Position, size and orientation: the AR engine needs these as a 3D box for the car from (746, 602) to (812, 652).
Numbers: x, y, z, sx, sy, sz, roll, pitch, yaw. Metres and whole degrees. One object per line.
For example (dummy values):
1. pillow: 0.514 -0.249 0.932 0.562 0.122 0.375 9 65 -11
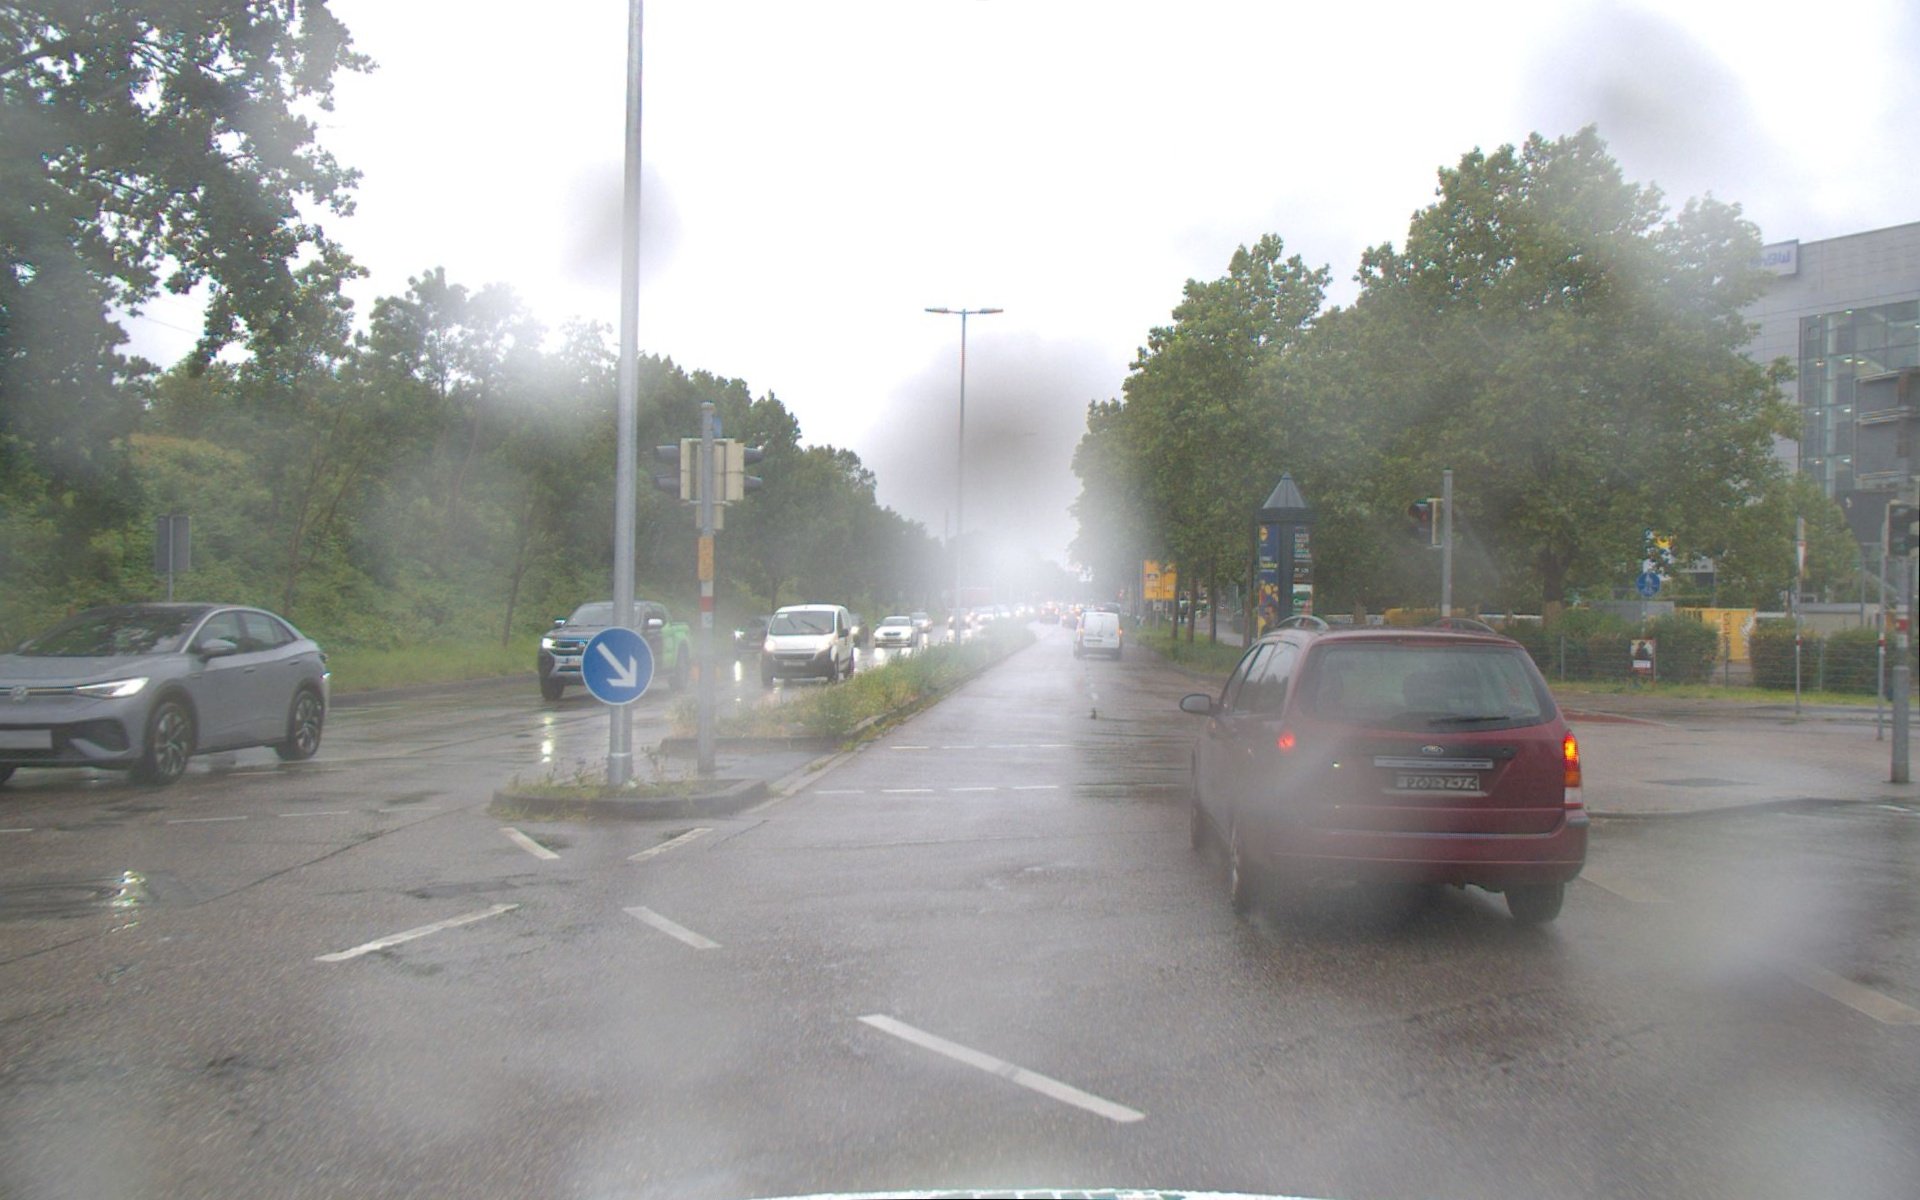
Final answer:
1. car: -6.786 0.977 62.402 1.707 1.732 4.285 3 0 3

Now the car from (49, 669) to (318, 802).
1. car: -10.025 1.704 21.689 1.557 1.428 3.824 0 0 3

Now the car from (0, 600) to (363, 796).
1. car: -7.638 0.840 16.082 1.725 1.614 4.814 0 -1 2

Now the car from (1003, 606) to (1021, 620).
1. car: 6.258 1.582 198.998 1.921 1.625 4.286 0 0 4

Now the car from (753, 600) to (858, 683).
1. car: -3.407 0.892 37.185 1.707 1.732 4.285 -1 0 3

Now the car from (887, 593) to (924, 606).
1. car: -6.746 -0.087 206.331 4.227 1.625 1.948 0 0 -32

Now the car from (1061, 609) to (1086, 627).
1. car: 10.274 1.597 149.386 2.102 1.554 4.195 1 0 6

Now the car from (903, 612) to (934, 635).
1. car: -3.001 1.708 119.525 1.922 1.625 4.285 0 0 3

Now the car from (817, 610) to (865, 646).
1. car: -5.988 1.385 83.792 1.922 1.732 4.285 0 0 3

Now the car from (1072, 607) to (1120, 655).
1. car: 5.328 1.173 65.056 1.699 1.756 4.245 2 0 3

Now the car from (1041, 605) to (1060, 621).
1. car: 8.965 1.251 164.057 1.662 1.554 3.848 1 0 6

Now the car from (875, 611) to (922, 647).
1. car: -3.004 1.398 81.413 1.922 1.732 4.285 0 0 3

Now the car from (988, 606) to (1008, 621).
1. car: 4.123 1.459 177.273 1.921 1.625 4.286 0 0 4

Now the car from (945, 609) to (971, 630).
1. car: -0.167 1.592 135.435 1.922 1.625 4.285 0 0 3

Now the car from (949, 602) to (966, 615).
1. car: -0.313 1.043 208.491 1.922 1.625 4.285 0 0 3

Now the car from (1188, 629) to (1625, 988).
1. car: 2.295 0.984 9.437 1.608 1.490 3.734 3 0 3

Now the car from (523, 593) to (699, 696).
1. car: -6.725 0.805 32.564 2.022 1.851 5.543 0 0 3

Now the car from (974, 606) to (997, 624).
1. car: 2.357 1.365 153.577 1.921 1.625 4.286 0 0 4
